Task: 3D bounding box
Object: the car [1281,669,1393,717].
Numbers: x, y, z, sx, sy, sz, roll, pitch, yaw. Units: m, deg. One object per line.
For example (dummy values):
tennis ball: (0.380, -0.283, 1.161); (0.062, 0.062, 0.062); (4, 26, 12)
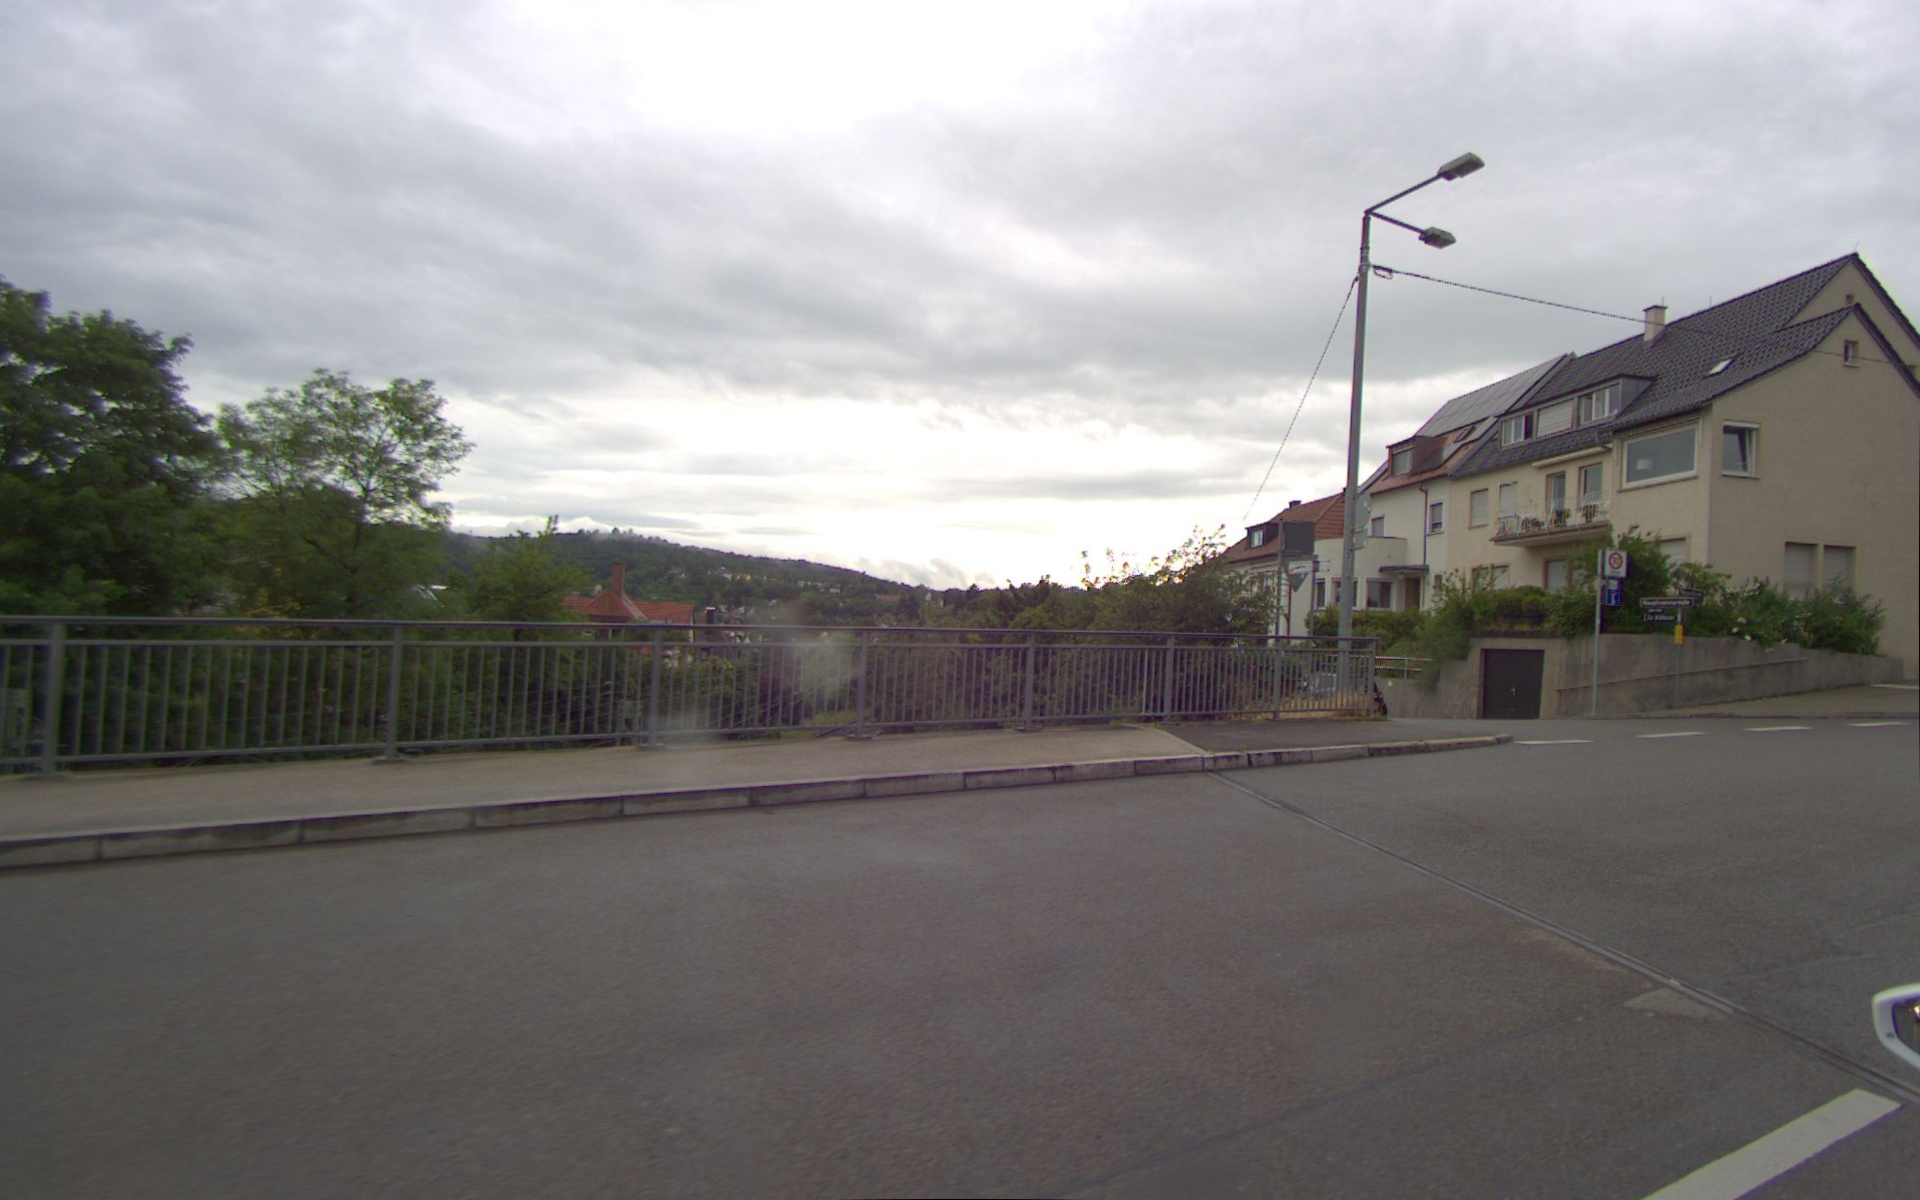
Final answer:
car: (11.667, 2.951, 31.356); (1.623, 1.286, 4.000); (4, -7, -6)
